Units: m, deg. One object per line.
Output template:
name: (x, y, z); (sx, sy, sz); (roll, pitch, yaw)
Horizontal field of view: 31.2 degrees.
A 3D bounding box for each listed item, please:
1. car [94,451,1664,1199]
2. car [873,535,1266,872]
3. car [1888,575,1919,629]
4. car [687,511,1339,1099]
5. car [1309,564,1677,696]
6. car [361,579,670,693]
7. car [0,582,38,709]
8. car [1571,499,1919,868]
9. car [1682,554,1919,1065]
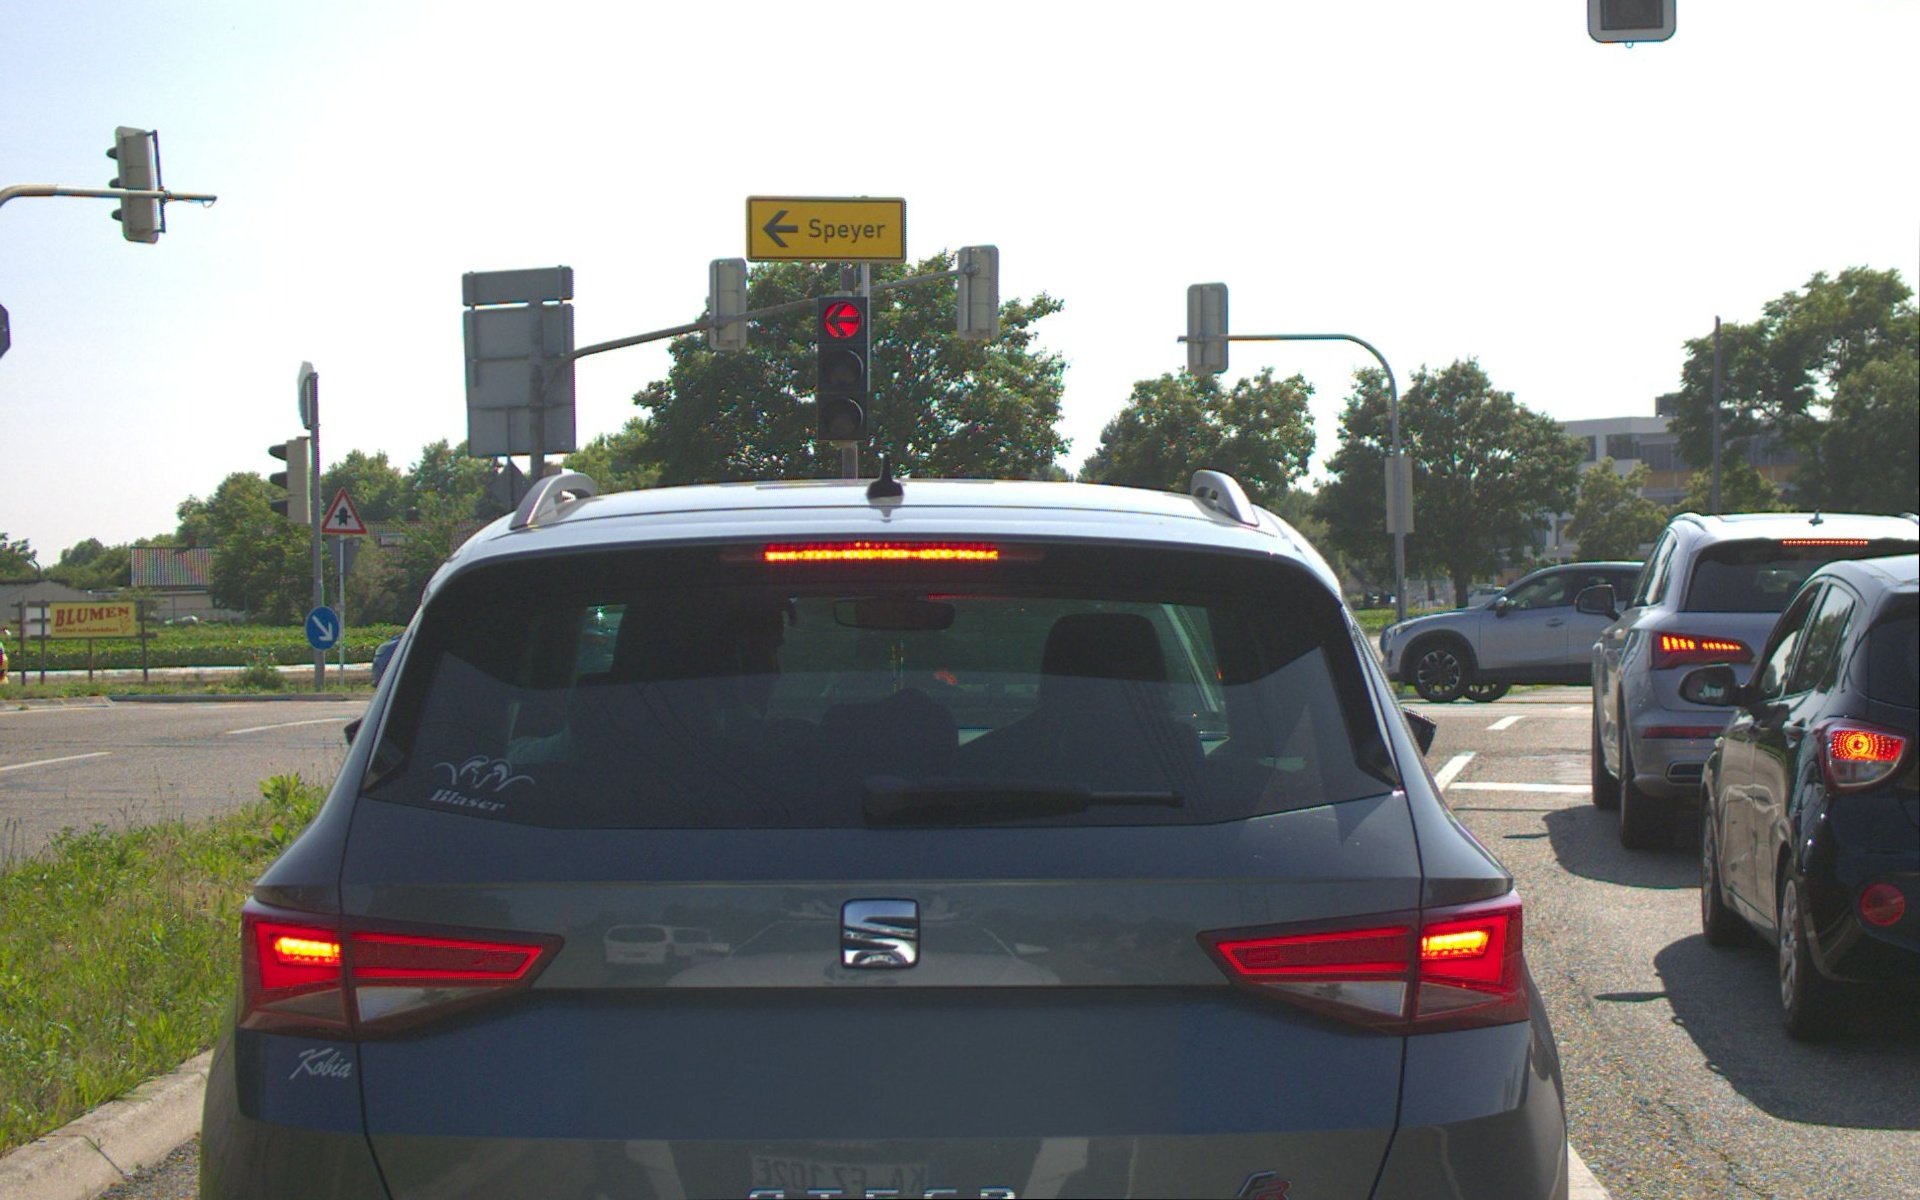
car: (-0.116, 0.615, 5.660); (1.742, 1.563, 3.624); (1, 0, -1)
car: (0.637, 0.448, 17.267); (1.742, 1.479, 3.623); (1, 0, 5)
car: (30.540, 0.078, 107.933); (1.880, 1.667, 3.764); (1, 1, 28)
car: (0.153, 0.542, 11.145); (1.742, 1.563, 3.624); (1, 0, 0)
car: (6.424, 0.351, 41.437); (4.029, 1.514, 1.805); (0, 1, 26)
car: (-6.181, 0.489, 47.799); (3.872, 1.514, 1.805); (0, 1, 24)
car: (-14.376, 0.609, 45.556); (3.993, 1.645, 1.817); (0, 0, 28)
car: (4.084, 0.362, 17.563); (1.633, 1.671, 3.749); (1, 1, 6)
car: (3.384, 0.580, 11.335); (1.633, 1.443, 3.294); (1, 1, 6)
